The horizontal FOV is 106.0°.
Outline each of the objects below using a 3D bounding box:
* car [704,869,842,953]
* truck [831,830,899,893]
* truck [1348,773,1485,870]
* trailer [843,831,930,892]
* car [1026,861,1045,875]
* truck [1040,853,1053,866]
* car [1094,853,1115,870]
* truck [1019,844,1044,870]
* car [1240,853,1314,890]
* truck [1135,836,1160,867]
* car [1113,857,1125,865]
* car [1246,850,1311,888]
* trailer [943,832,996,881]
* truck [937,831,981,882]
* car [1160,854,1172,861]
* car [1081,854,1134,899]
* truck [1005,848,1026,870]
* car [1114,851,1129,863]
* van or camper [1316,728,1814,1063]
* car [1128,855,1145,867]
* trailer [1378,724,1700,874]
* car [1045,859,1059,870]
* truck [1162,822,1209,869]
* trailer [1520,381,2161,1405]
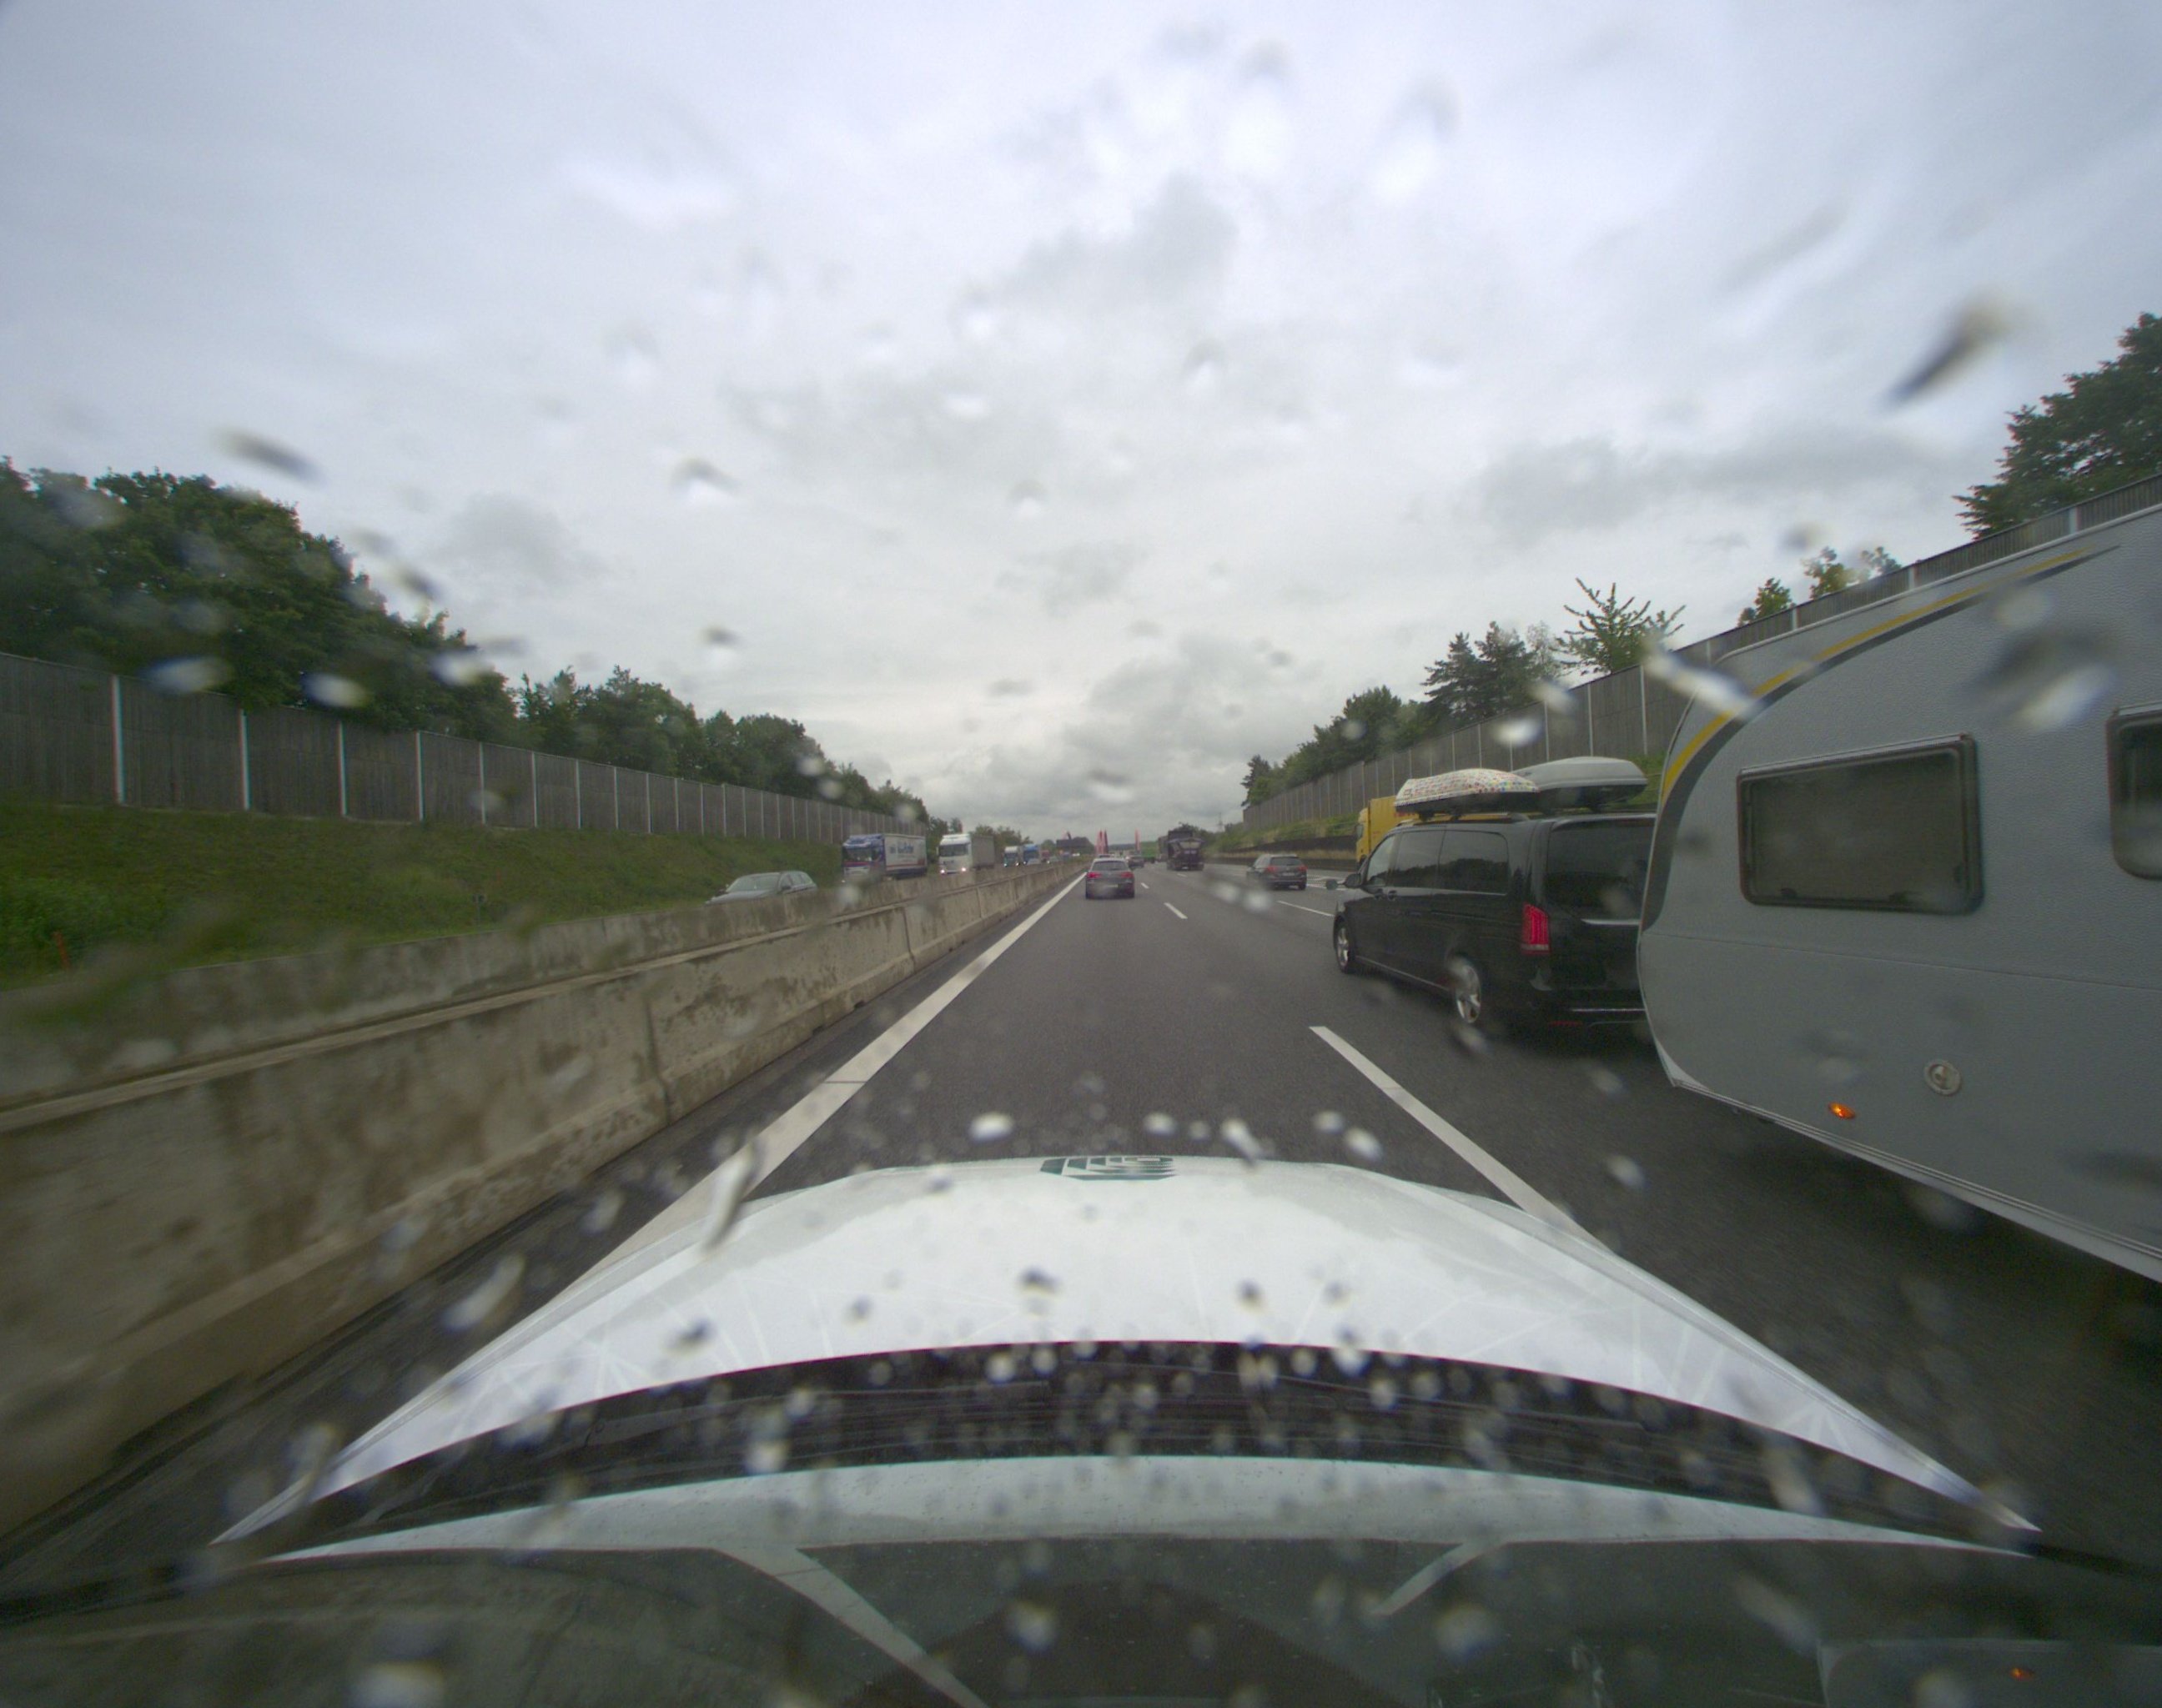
[{"bbox_3d":[-8.801,1.545,23.817,1.986,2.013,4.771,-2,0,2],"label":"car"},{"bbox_3d":[-15.805,0.559,60.159,3.078,4.325,6.100,-3,-1,2],"label":"truck"},{"bbox_3d":[15.318,-1.318,38.161,2.676,3.958,9.327,-1,0,1],"label":"truck"},{"bbox_3d":[-15.606,0.612,66.883,3.078,4.325,14.343,-3,0,2],"label":"trailer"},{"bbox_3d":[-5.953,1.829,107.309,1.965,1.689,4.359,-2,0,2],"label":"car"},{"bbox_3d":[-9.629,1.575,228.312,2.684,3.707,6.489,-1,0,5],"label":"truck"},{"bbox_3d":[2.375,0.694,81.783,1.986,1.585,4.001,-2,0,1],"label":"car"},{"bbox_3d":[-8.632,0.511,143.274,3.139,4.325,12.686,-1,0,2],"label":"truck"},{"bbox_3d":[8.086,0.670,34.067,1.932,1.427,5.291,-1,0,1],"label":"car"},{"bbox_3d":[11.804,-0.433,145.032,3.981,5.266,11.227,-1,0,3],"label":"truck"},{"bbox_3d":[6.858,1.252,146.970,1.986,1.354,4.001,-2,0,1],"label":"car"},{"bbox_3d":[8.077,0.607,33.710,1.657,1.456,4.471,-1,0,1],"label":"car"},{"bbox_3d":[-10.576,0.290,78.879,2.769,4.325,14.029,-1,0,2],"label":"trailer"},{"bbox_3d":[-10.779,0.250,72.446,2.769,4.325,6.099,-1,-1,2],"label":"truck"},{"bbox_3d":[16.506,0.646,158.992,1.986,1.354,4.001,-1,0,1],"label":"car"},{"bbox_3d":[0.944,0.771,29.477,1.757,1.453,4.000,-1,0,1],"label":"car"},{"bbox_3d":[-11.677,0.919,145.335,2.878,3.796,5.892,-2,0,2],"label":"truck"},{"bbox_3d":[5.755,0.451,115.806,1.986,1.662,4.002,-1,0,2],"label":"car"},{"bbox_3d":[4.121,0.291,8.403,1.883,2.269,5.681,-1,0,2],"label":"van or camper"},{"bbox_3d":[6.351,0.797,93.577,1.775,1.406,3.628,-1,0,2],"label":"car"},{"bbox_3d":[15.215,-1.398,29.975,2.641,3.953,16.687,-1,0,1],"label":"trailer"},{"bbox_3d":[-4.870,1.799,138.961,1.986,1.736,5.004,-2,0,2],"label":"car"},{"bbox_3d":[9.750,-0.684,77.231,3.078,3.950,12.950,-3,0,2],"label":"truck"},{"bbox_3d":[4.124,0.086,1.503,2.711,2.642,7.514,-1,0,1],"label":"trailer"}]
